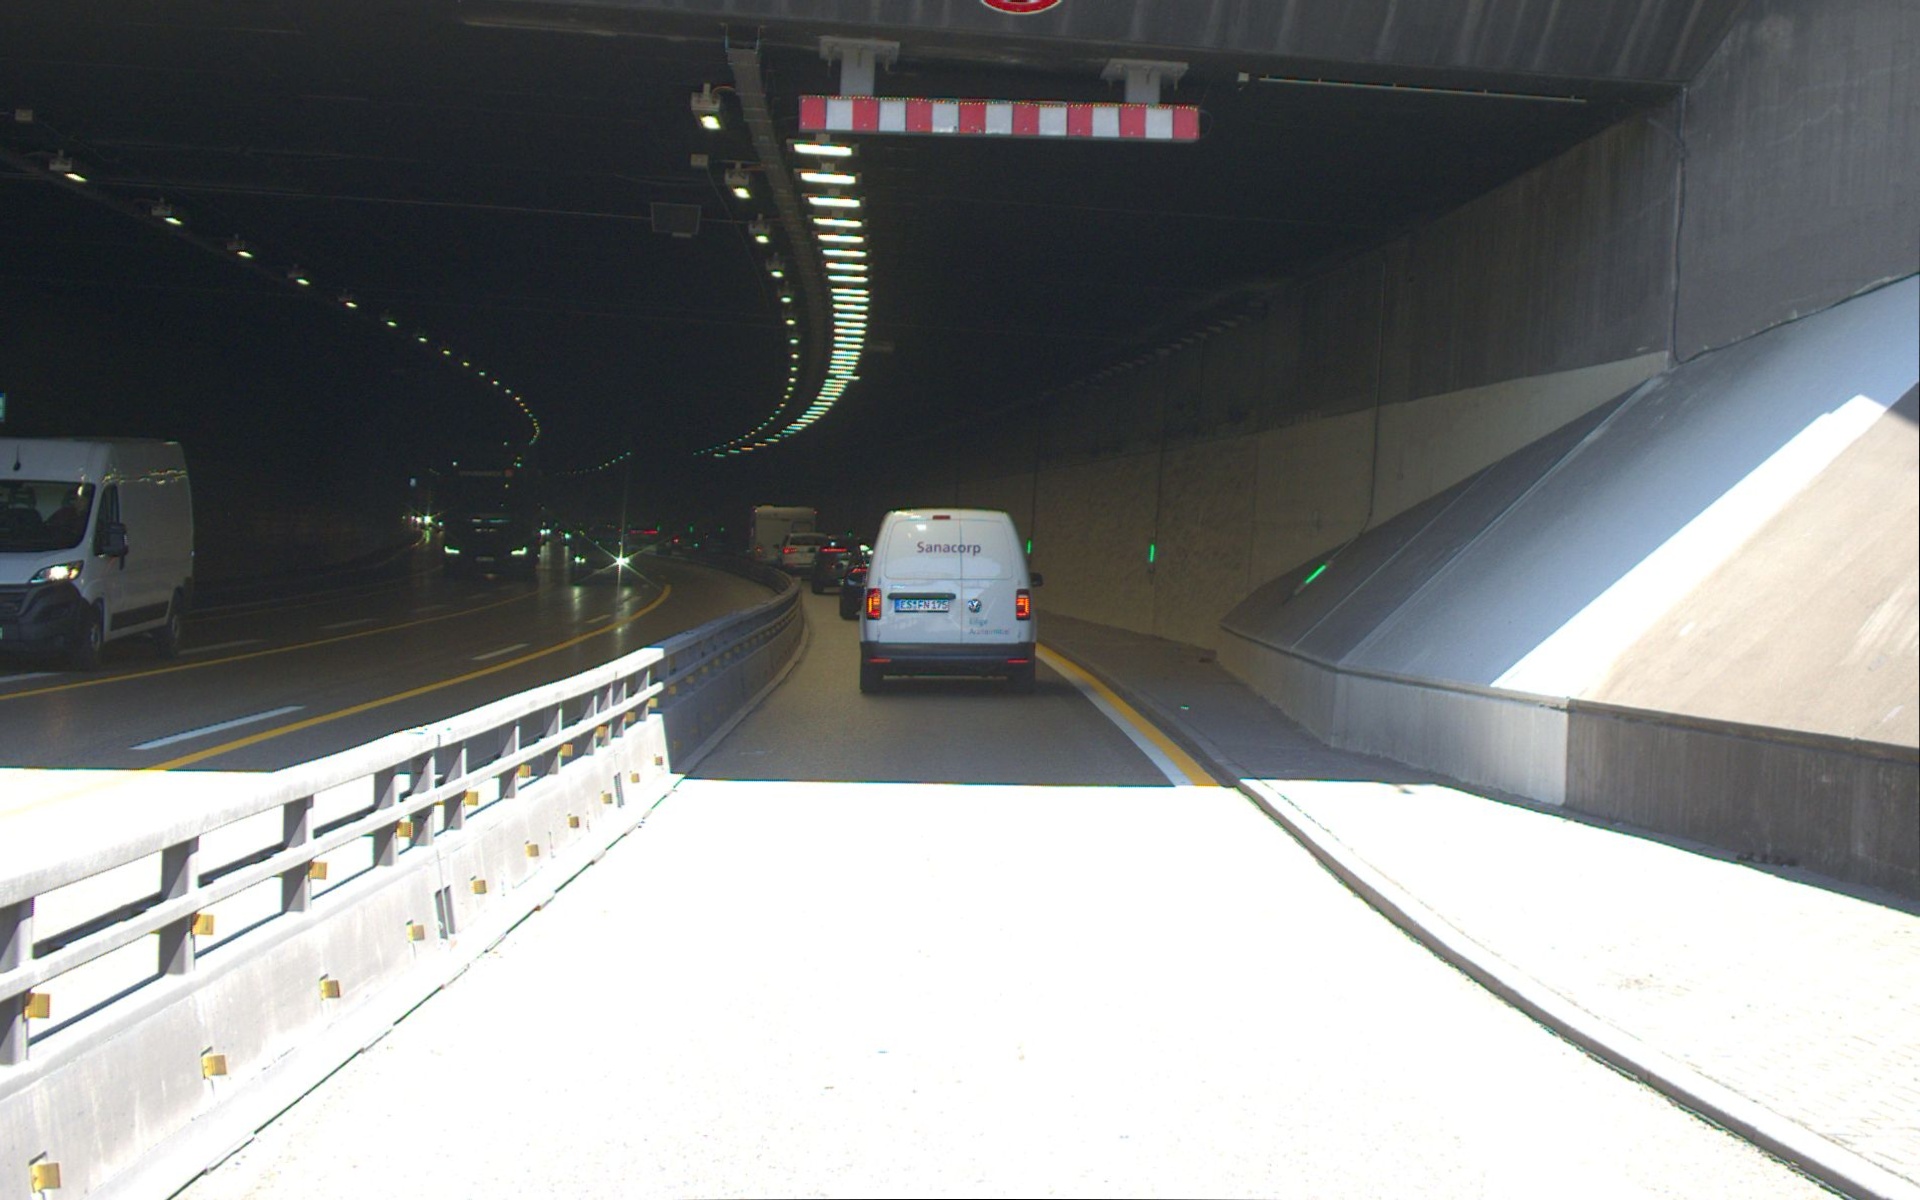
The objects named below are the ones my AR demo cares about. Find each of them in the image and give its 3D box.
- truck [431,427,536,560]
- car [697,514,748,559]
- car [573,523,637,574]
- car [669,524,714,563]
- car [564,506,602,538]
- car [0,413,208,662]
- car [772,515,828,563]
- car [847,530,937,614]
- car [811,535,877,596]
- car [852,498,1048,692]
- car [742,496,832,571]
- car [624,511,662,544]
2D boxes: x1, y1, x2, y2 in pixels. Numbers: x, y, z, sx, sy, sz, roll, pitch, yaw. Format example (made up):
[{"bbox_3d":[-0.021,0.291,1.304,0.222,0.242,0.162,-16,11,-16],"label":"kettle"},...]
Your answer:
[{"bbox_3d":[-14.405,-3.209,104.338,2.810,3.902,6.457,0,1,-5],"label":"truck"},{"bbox_3d":[-11.625,-3.119,168.141,2.034,2.014,4.633,5,1,-8],"label":"car"},{"bbox_3d":[-10.407,-1.530,100.830,1.821,1.451,4.094,0,1,-6],"label":"car"},{"bbox_3d":[-14.337,-3.016,183.375,1.939,2.014,4.663,1,1,-10],"label":"car"},{"bbox_3d":[-23.997,-4.968,218.755,1.926,1.842,4.363,-1,4,-12],"label":"car"},{"bbox_3d":[-9.909,-0.709,37.687,1.993,2.506,6.042,0,1,0],"label":"car"},{"bbox_3d":[-5.300,-2.033,113.444,1.598,1.541,3.678,0,1,-6],"label":"car"},{"bbox_3d":[-1.331,-0.565,65.863,1.598,1.541,3.678,0,1,-3],"label":"car"},{"bbox_3d":[-3.067,-0.922,90.394,1.598,1.541,3.678,1,1,-4],"label":"car"},{"bbox_3d":[-0.145,-0.071,34.754,1.808,1.788,3.731,2,1,-2],"label":"car"},{"bbox_3d":[-6.685,-2.566,131.997,2.813,2.764,7.103,1,1,-8],"label":"car"},{"bbox_3d":[-19.755,-4.539,213.931,1.939,2.014,4.663,0,1,-10],"label":"car"}]
